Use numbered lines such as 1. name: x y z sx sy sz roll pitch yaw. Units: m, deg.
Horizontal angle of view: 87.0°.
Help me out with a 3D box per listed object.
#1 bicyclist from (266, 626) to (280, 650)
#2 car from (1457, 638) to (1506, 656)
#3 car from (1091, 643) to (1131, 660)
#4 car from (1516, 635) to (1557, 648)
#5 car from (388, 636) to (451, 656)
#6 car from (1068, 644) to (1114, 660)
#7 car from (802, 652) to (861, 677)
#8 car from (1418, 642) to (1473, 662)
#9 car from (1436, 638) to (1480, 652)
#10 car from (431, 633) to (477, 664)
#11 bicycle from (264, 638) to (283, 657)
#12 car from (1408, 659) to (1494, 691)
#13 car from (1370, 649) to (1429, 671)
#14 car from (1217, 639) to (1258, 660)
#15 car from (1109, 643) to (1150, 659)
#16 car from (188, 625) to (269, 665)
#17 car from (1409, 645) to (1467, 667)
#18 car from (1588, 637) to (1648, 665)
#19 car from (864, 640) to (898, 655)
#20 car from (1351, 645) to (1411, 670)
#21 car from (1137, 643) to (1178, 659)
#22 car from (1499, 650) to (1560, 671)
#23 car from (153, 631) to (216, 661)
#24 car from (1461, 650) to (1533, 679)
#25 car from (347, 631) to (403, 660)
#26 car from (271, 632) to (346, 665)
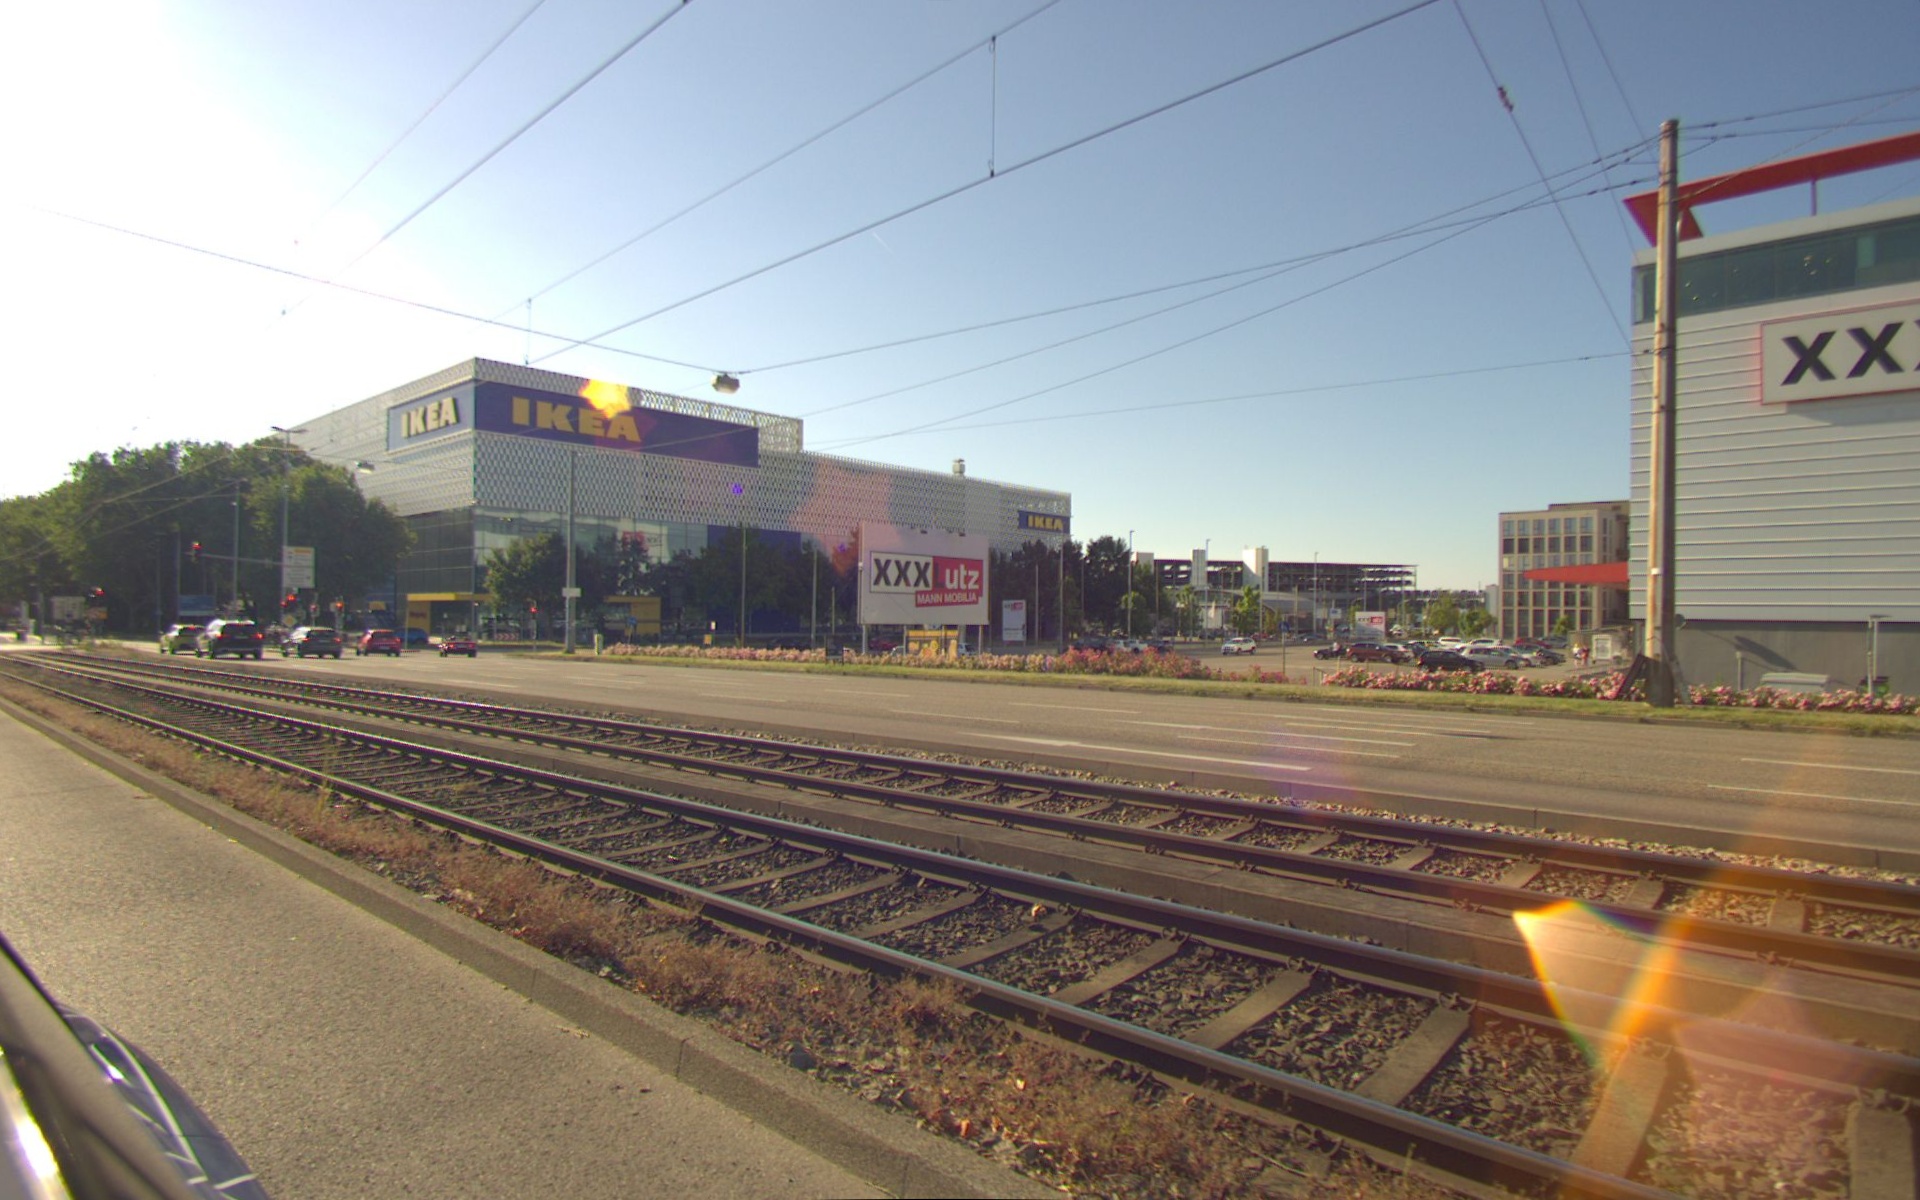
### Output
1. bicyclist: -44.210 2.442 65.130 0.751 1.534 0.581 -2 -2 42
2. car: 50.921 4.552 98.870 3.991 1.631 1.857 -2 0 36
3. car: 15.983 5.441 107.208 3.999 1.668 1.704 -2 -2 42
4. car: 64.528 4.649 113.347 1.635 1.379 3.668 -2 0 -45
5. car: -45.307 3.848 84.864 4.194 1.509 2.018 4 -4 -44
6. car: 13.338 5.299 103.307 4.432 1.563 1.652 -2 0 37
7. car: -10.096 5.037 79.479 4.409 1.723 1.975 -2 0 37
8. car: 42.578 4.531 88.814 3.994 1.631 1.856 -2 0 38
9. car: 55.609 4.984 113.109 4.001 1.459 1.853 -2 0 44
10. car: -28.720 2.736 57.399 1.796 1.655 4.010 2 -3 -34
11. bicycle: -44.184 3.031 65.110 1.991 1.176 0.581 -2 -1 43
12. car: 30.496 4.640 62.867 4.446 1.715 1.901 -2 0 41
13. car: 35.599 4.834 82.014 3.994 1.631 1.856 -2 0 38
14. car: 28.102 5.007 102.446 4.163 1.813 1.830 -2 0 -40
15. car: 18.280 5.498 109.047 3.999 1.668 1.777 -2 -2 42
16. car: -32.273 1.962 44.595 4.657 1.668 1.972 -2 -3 42
17. car: 39.766 4.665 84.236 3.994 1.631 1.856 -2 0 38
18. car: 46.583 3.600 71.667 3.290 1.869 1.489 -2 0 44
19. car: -8.730 5.279 112.534 1.770 1.471 3.537 0 -3 40
20. car: 33.480 4.557 80.579 3.997 1.827 1.973 -2 0 41
21. car: 21.885 5.650 112.345 3.999 1.668 1.972 -2 -2 42
22. car: 42.505 4.534 75.594 3.666 1.379 1.635 -2 0 44
23. car: -39.060 2.291 50.937 4.107 1.459 1.764 -2 -3 42
24. car: 36.615 4.372 68.983 3.997 1.715 1.901 -2 0 41
25. car: -31.810 2.443 54.997 1.911 1.488 4.138 4 -3 -40
26. car: -30.720 2.236 47.670 4.134 1.472 1.838 -2 -2 40
